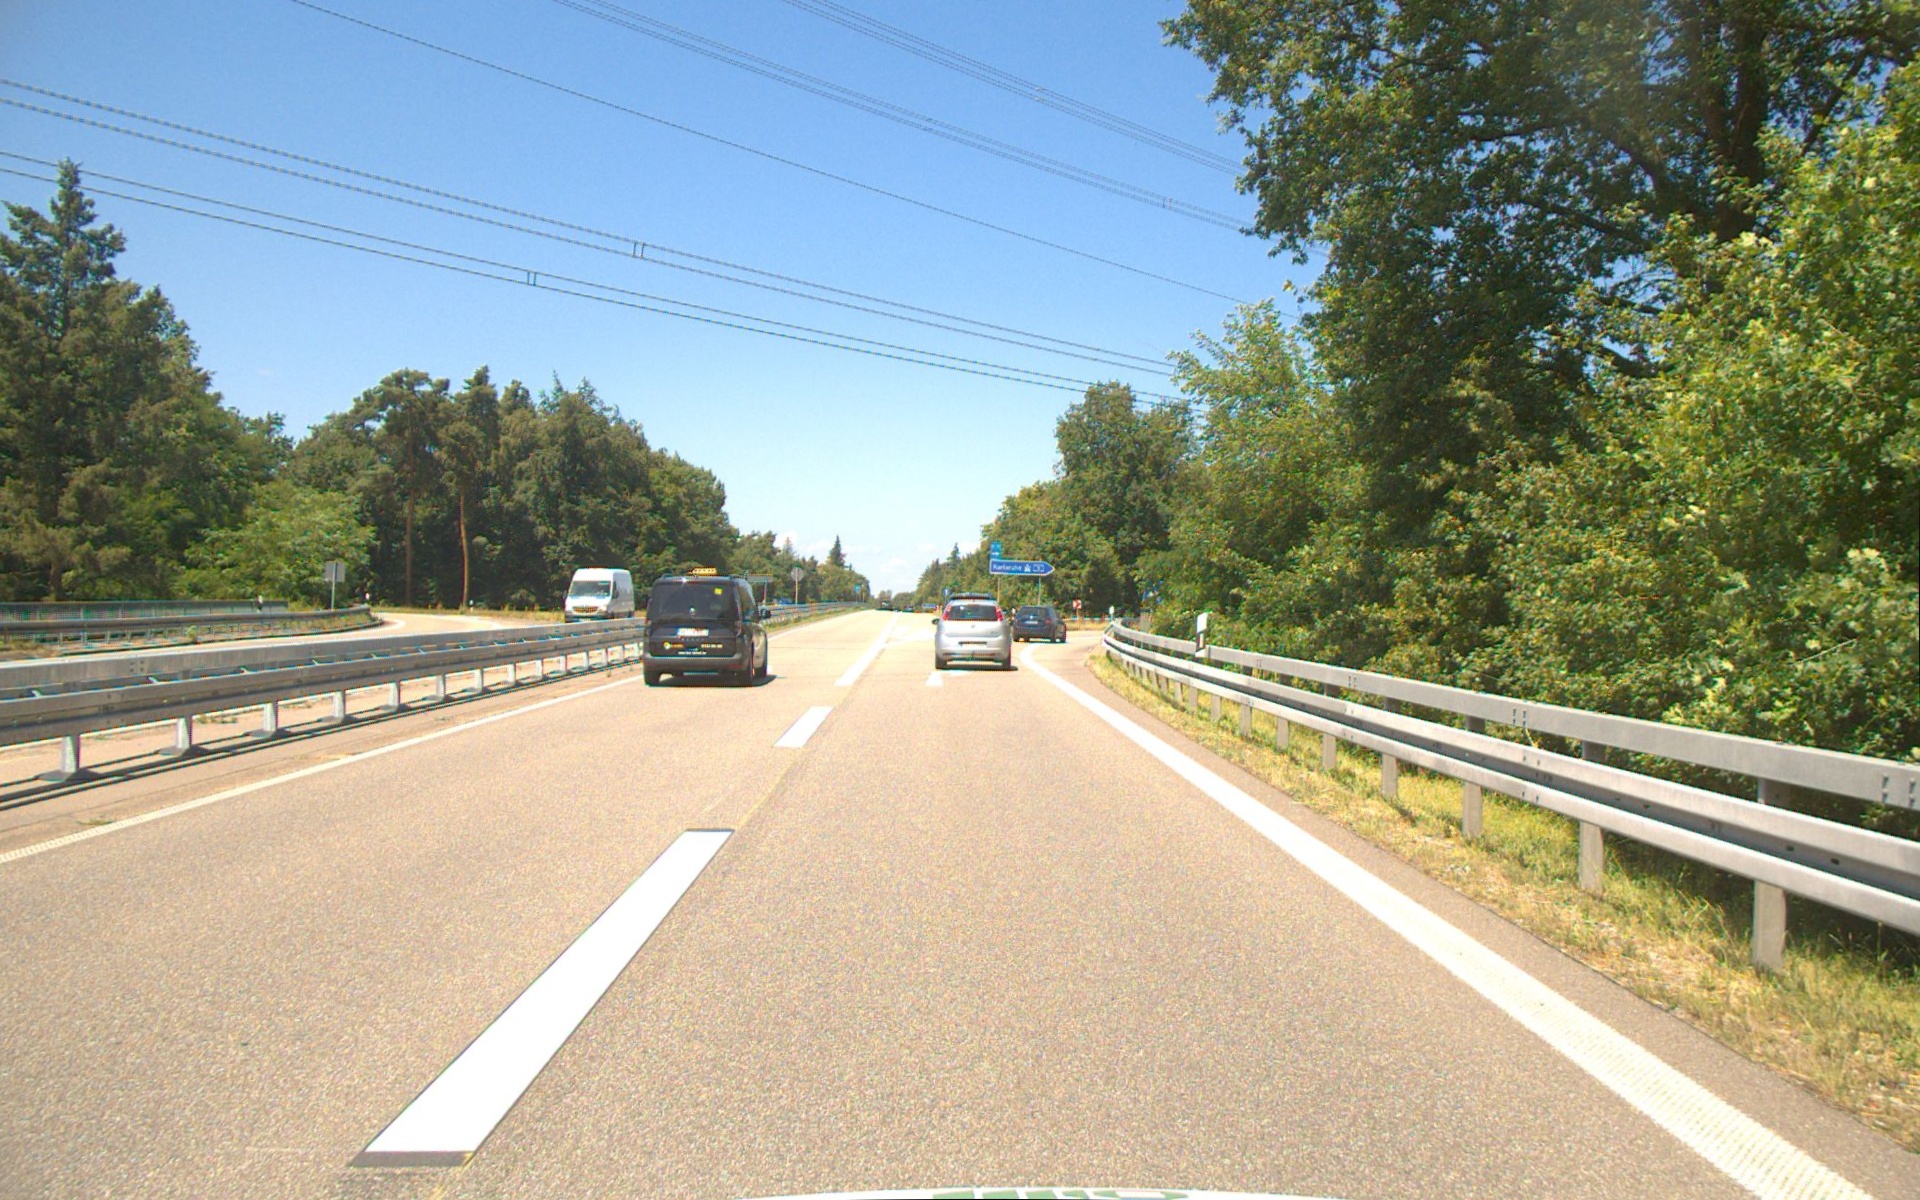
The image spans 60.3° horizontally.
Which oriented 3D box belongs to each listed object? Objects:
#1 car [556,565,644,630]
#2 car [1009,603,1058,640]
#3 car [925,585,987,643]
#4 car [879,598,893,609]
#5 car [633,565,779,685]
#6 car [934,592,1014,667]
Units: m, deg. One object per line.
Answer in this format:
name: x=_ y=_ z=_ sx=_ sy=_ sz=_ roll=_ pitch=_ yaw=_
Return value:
car: x=-15.553 y=-0.117 z=71.912 sx=2.474 sy=2.664 sz=7.182 roll=-1 pitch=0 yaw=-2
car: x=2.981 y=0.841 z=66.327 sx=1.605 sy=1.366 sz=3.576 roll=3 pitch=0 yaw=7
car: x=-0.100 y=0.423 z=51.912 sx=1.606 sy=1.682 sz=3.576 roll=3 pitch=0 yaw=4
car: x=-10.026 y=0.481 z=224.514 sx=1.678 sy=1.497 sz=3.573 roll=3 pitch=0 yaw=-1
car: x=-4.387 y=0.401 z=29.391 sx=1.816 sy=1.920 sz=5.572 roll=0 pitch=0 yaw=-1
car: x=0.290 y=0.621 z=36.373 sx=1.607 sy=1.493 sz=3.418 roll=3 pitch=0 yaw=-1
